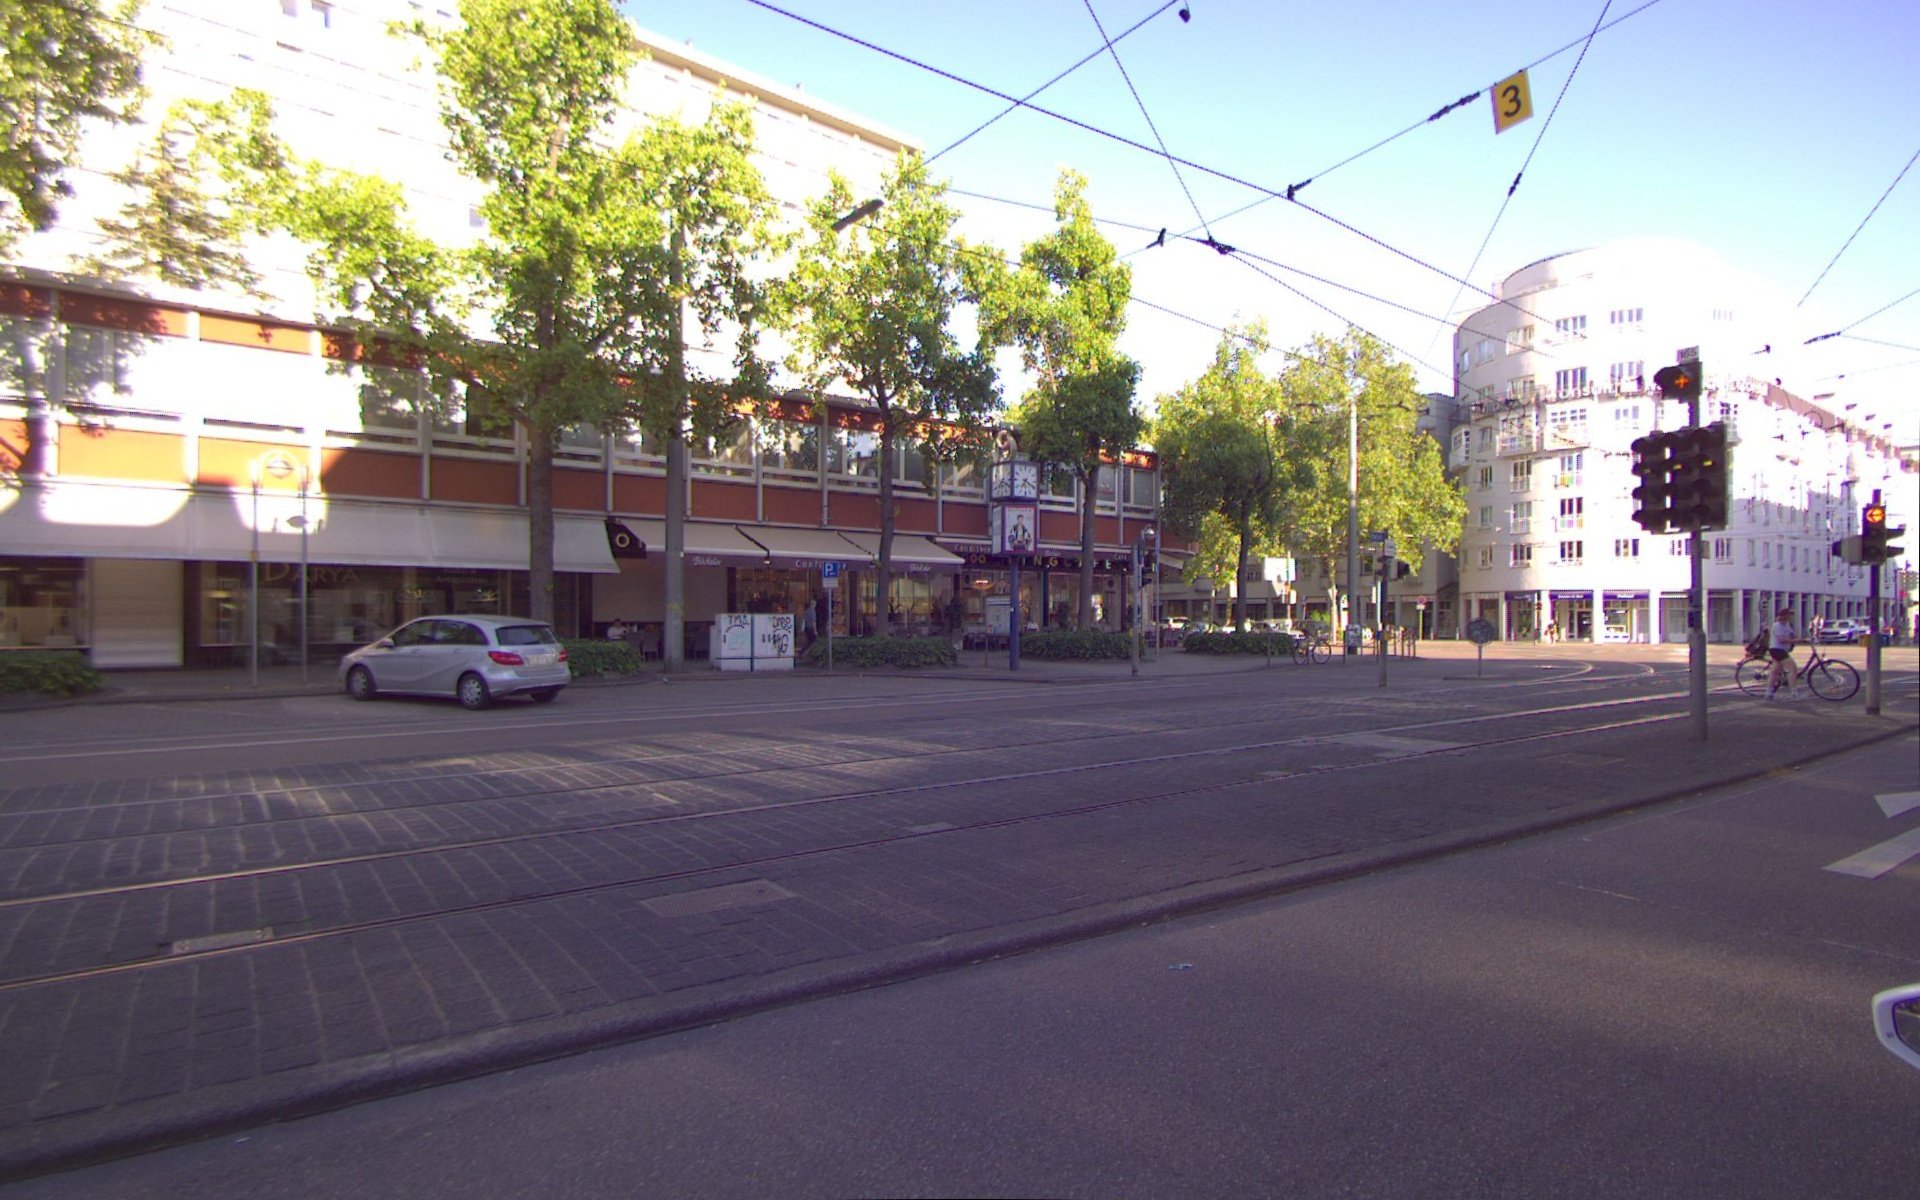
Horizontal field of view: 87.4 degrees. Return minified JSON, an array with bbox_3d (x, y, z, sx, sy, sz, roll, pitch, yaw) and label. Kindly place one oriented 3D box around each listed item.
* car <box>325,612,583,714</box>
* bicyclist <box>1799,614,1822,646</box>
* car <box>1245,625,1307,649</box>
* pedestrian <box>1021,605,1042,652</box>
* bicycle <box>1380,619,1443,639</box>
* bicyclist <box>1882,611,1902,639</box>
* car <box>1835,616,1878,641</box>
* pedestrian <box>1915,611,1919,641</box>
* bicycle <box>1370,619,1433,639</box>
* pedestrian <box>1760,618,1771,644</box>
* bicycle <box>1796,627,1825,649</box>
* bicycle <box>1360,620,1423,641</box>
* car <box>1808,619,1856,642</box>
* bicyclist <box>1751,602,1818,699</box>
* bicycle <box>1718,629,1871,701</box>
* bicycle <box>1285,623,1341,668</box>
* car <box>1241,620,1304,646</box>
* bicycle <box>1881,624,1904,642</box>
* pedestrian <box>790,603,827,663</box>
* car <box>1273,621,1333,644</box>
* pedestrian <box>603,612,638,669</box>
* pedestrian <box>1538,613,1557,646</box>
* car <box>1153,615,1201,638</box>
[{"bbox_3d":[-9.121,1.062,18.138,4.197,1.587,1.827,1,-1,22],"label":"car"},{"bbox_3d":[46.890,1.629,55.362,0.787,1.749,0.802,1,-1,-37],"label":"bicyclist"},{"bbox_3d":[18.290,2.107,58.328,1.740,1.312,4.010,0,-1,-11],"label":"car"},{"bbox_3d":[2.720,1.087,38.360,0.590,1.745,0.647,0,1,-18],"label":"pedestrian"},{"bbox_3d":[35.231,2.250,78.454,1.055,1.550,4.676,1,-1,-33],"label":"bicycle"},{"bbox_3d":[62.210,1.658,67.075,0.984,1.845,0.802,1,-1,-37],"label":"bicyclist"},{"bbox_3d":[64.956,2.032,72.779,3.532,1.741,1.688,1,-1,-38],"label":"car"},{"bbox_3d":[56.889,1.517,59.200,0.567,1.753,0.763,1,-1,-35],"label":"pedestrian"},{"bbox_3d":[34.004,2.219,77.527,1.055,1.550,4.676,1,-1,-33],"label":"bicycle"},{"bbox_3d":[52.583,1.998,65.584,0.483,1.704,0.519,1,-1,-44],"label":"pedestrian"},{"bbox_3d":[46.822,2.067,55.299,2.031,1.162,0.802,1,-1,-38],"label":"bicycle"},{"bbox_3d":[33.011,2.294,76.982,1.055,1.550,4.676,1,-1,-33],"label":"bicycle"},{"bbox_3d":[59.181,2.049,68.150,3.428,1.566,1.753,1,-1,-37],"label":"car"},{"bbox_3d":[14.519,0.879,17.699,0.757,1.648,0.725,1,-1,-33],"label":"bicyclist"},{"bbox_3d":[14.835,1.118,17.917,0.621,1.193,2.007,1,-1,-32],"label":"bicycle"},{"bbox_3d":[11.107,1.402,31.574,1.887,1.345,0.666,1,2,-35],"label":"bicycle"},{"bbox_3d":[19.758,2.067,63.598,1.607,1.579,3.995,0,-1,-24],"label":"car"},{"bbox_3d":[62.423,2.177,67.209,1.992,1.162,0.802,1,-1,-37],"label":"bicycle"},{"bbox_3d":[-4.504,0.968,29.820,0.867,1.745,0.699,-1,1,-38],"label":"pedestrian"},{"bbox_3d":[24.565,2.318,72.113,1.598,1.551,3.966,0,-1,-31],"label":"car"},{"bbox_3d":[-9.624,1.139,28.461,0.700,1.584,0.866,1,-1,-37],"label":"pedestrian"},{"bbox_3d":[37.269,1.869,63.711,0.929,2.040,0.939,0,-1,25],"label":"pedestrian"},{"bbox_3d":[19.084,2.347,88.208,3.960,1.990,1.981,1,-1,-35],"label":"car"}]
